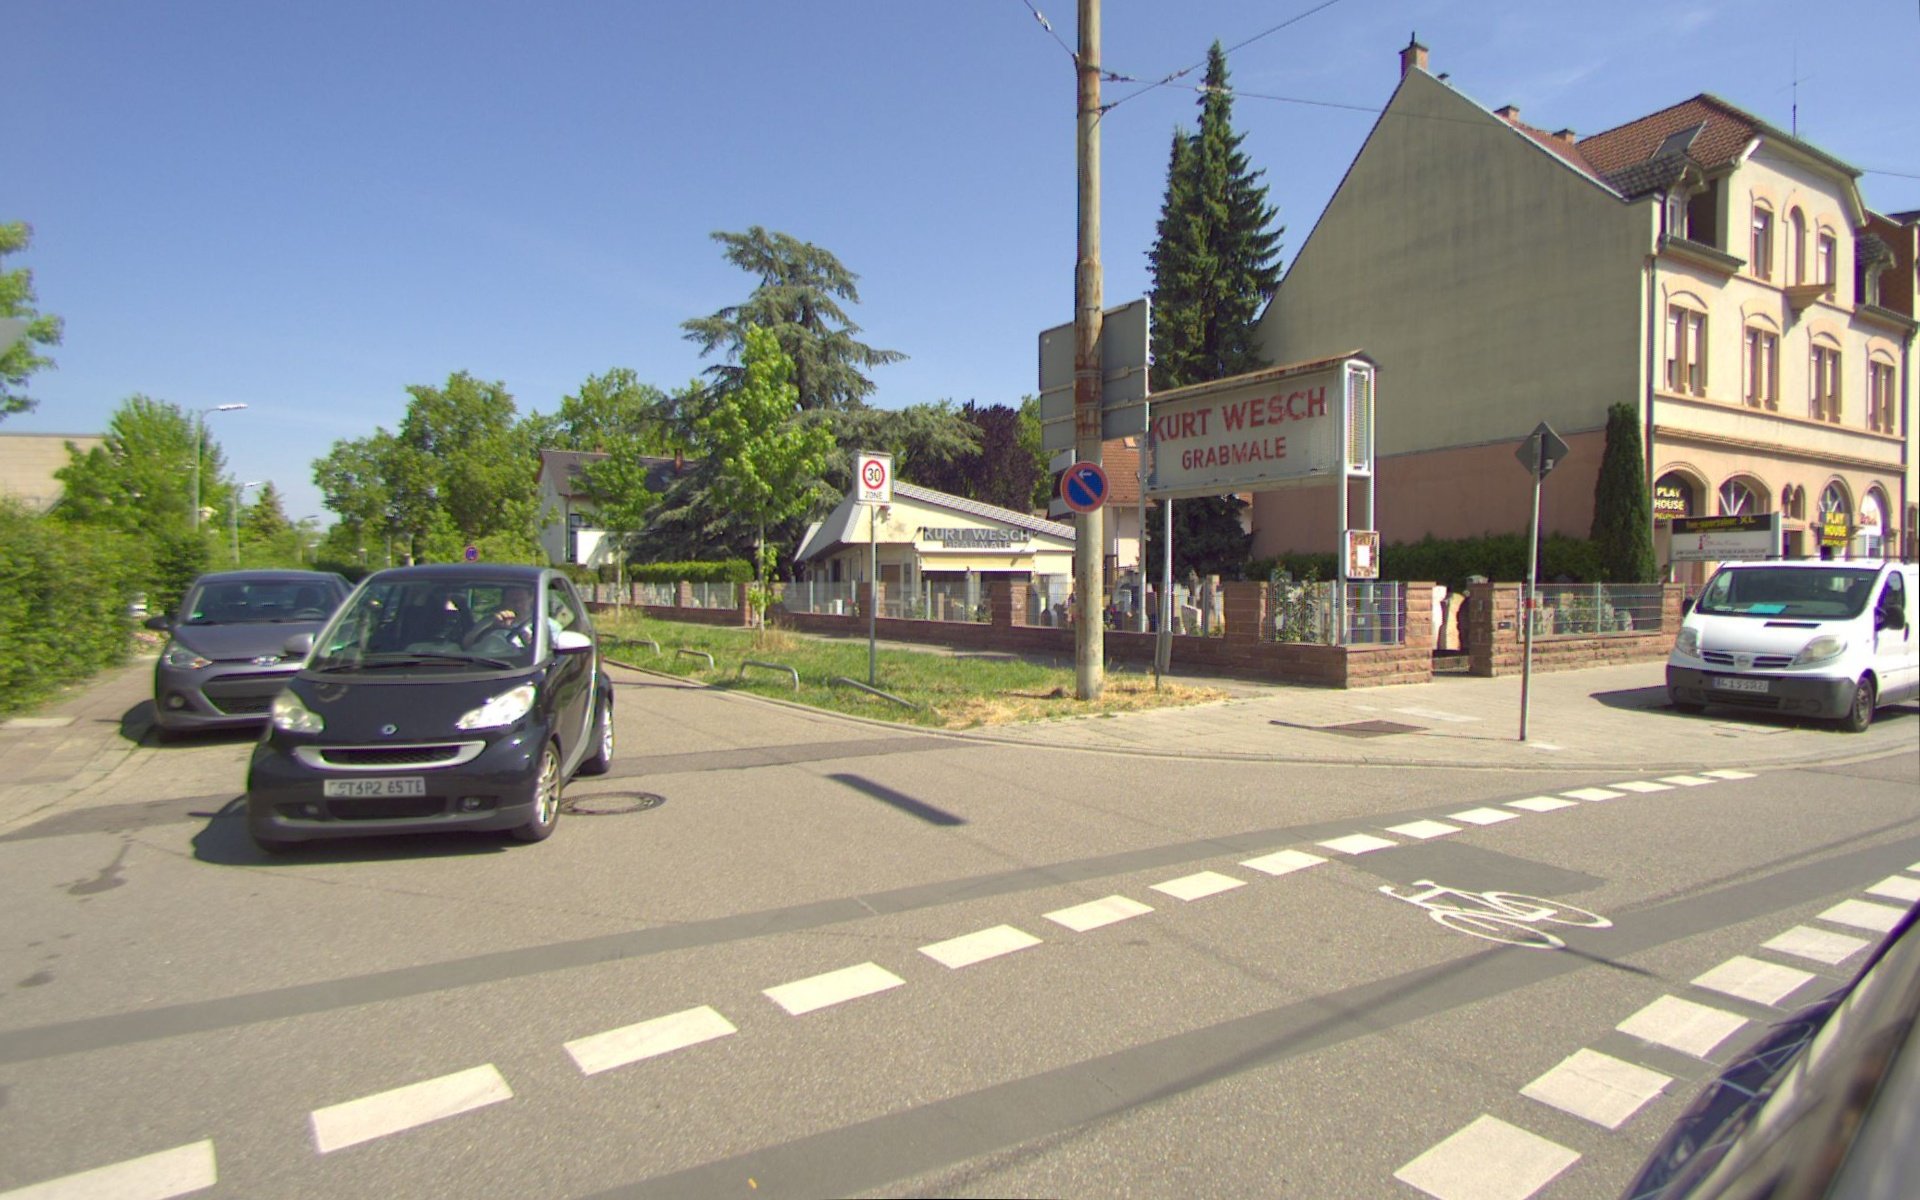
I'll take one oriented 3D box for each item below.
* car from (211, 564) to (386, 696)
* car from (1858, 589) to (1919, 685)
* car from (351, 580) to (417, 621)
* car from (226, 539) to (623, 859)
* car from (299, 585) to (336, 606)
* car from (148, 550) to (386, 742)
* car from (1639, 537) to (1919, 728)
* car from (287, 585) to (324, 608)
[{"bbox_3d":[-9.201,0.316,14.046,1.781,1.538,4.169,0,1,-35],"label":"car"},{"bbox_3d":[16.019,0.542,16.012,3.923,1.424,1.726,-1,1,-33],"label":"car"},{"bbox_3d":[-22.173,-0.023,38.900,1.899,1.467,3.829,0,1,-35],"label":"car"},{"bbox_3d":[-3.135,0.443,6.523,1.448,1.557,2.982,0,1,-11],"label":"car"},{"bbox_3d":[-46.548,-0.328,73.411,1.896,1.467,3.834,0,1,-27],"label":"car"},{"bbox_3d":[-6.894,0.335,10.146,1.672,1.546,3.696,0,1,-35],"label":"car"},{"bbox_3d":[11.046,0.288,12.950,4.812,2.038,2.093,0,2,-32],"label":"car"},{"bbox_3d":[-43.408,-0.238,67.208,1.897,1.468,3.832,-1,1,-31],"label":"car"}]
